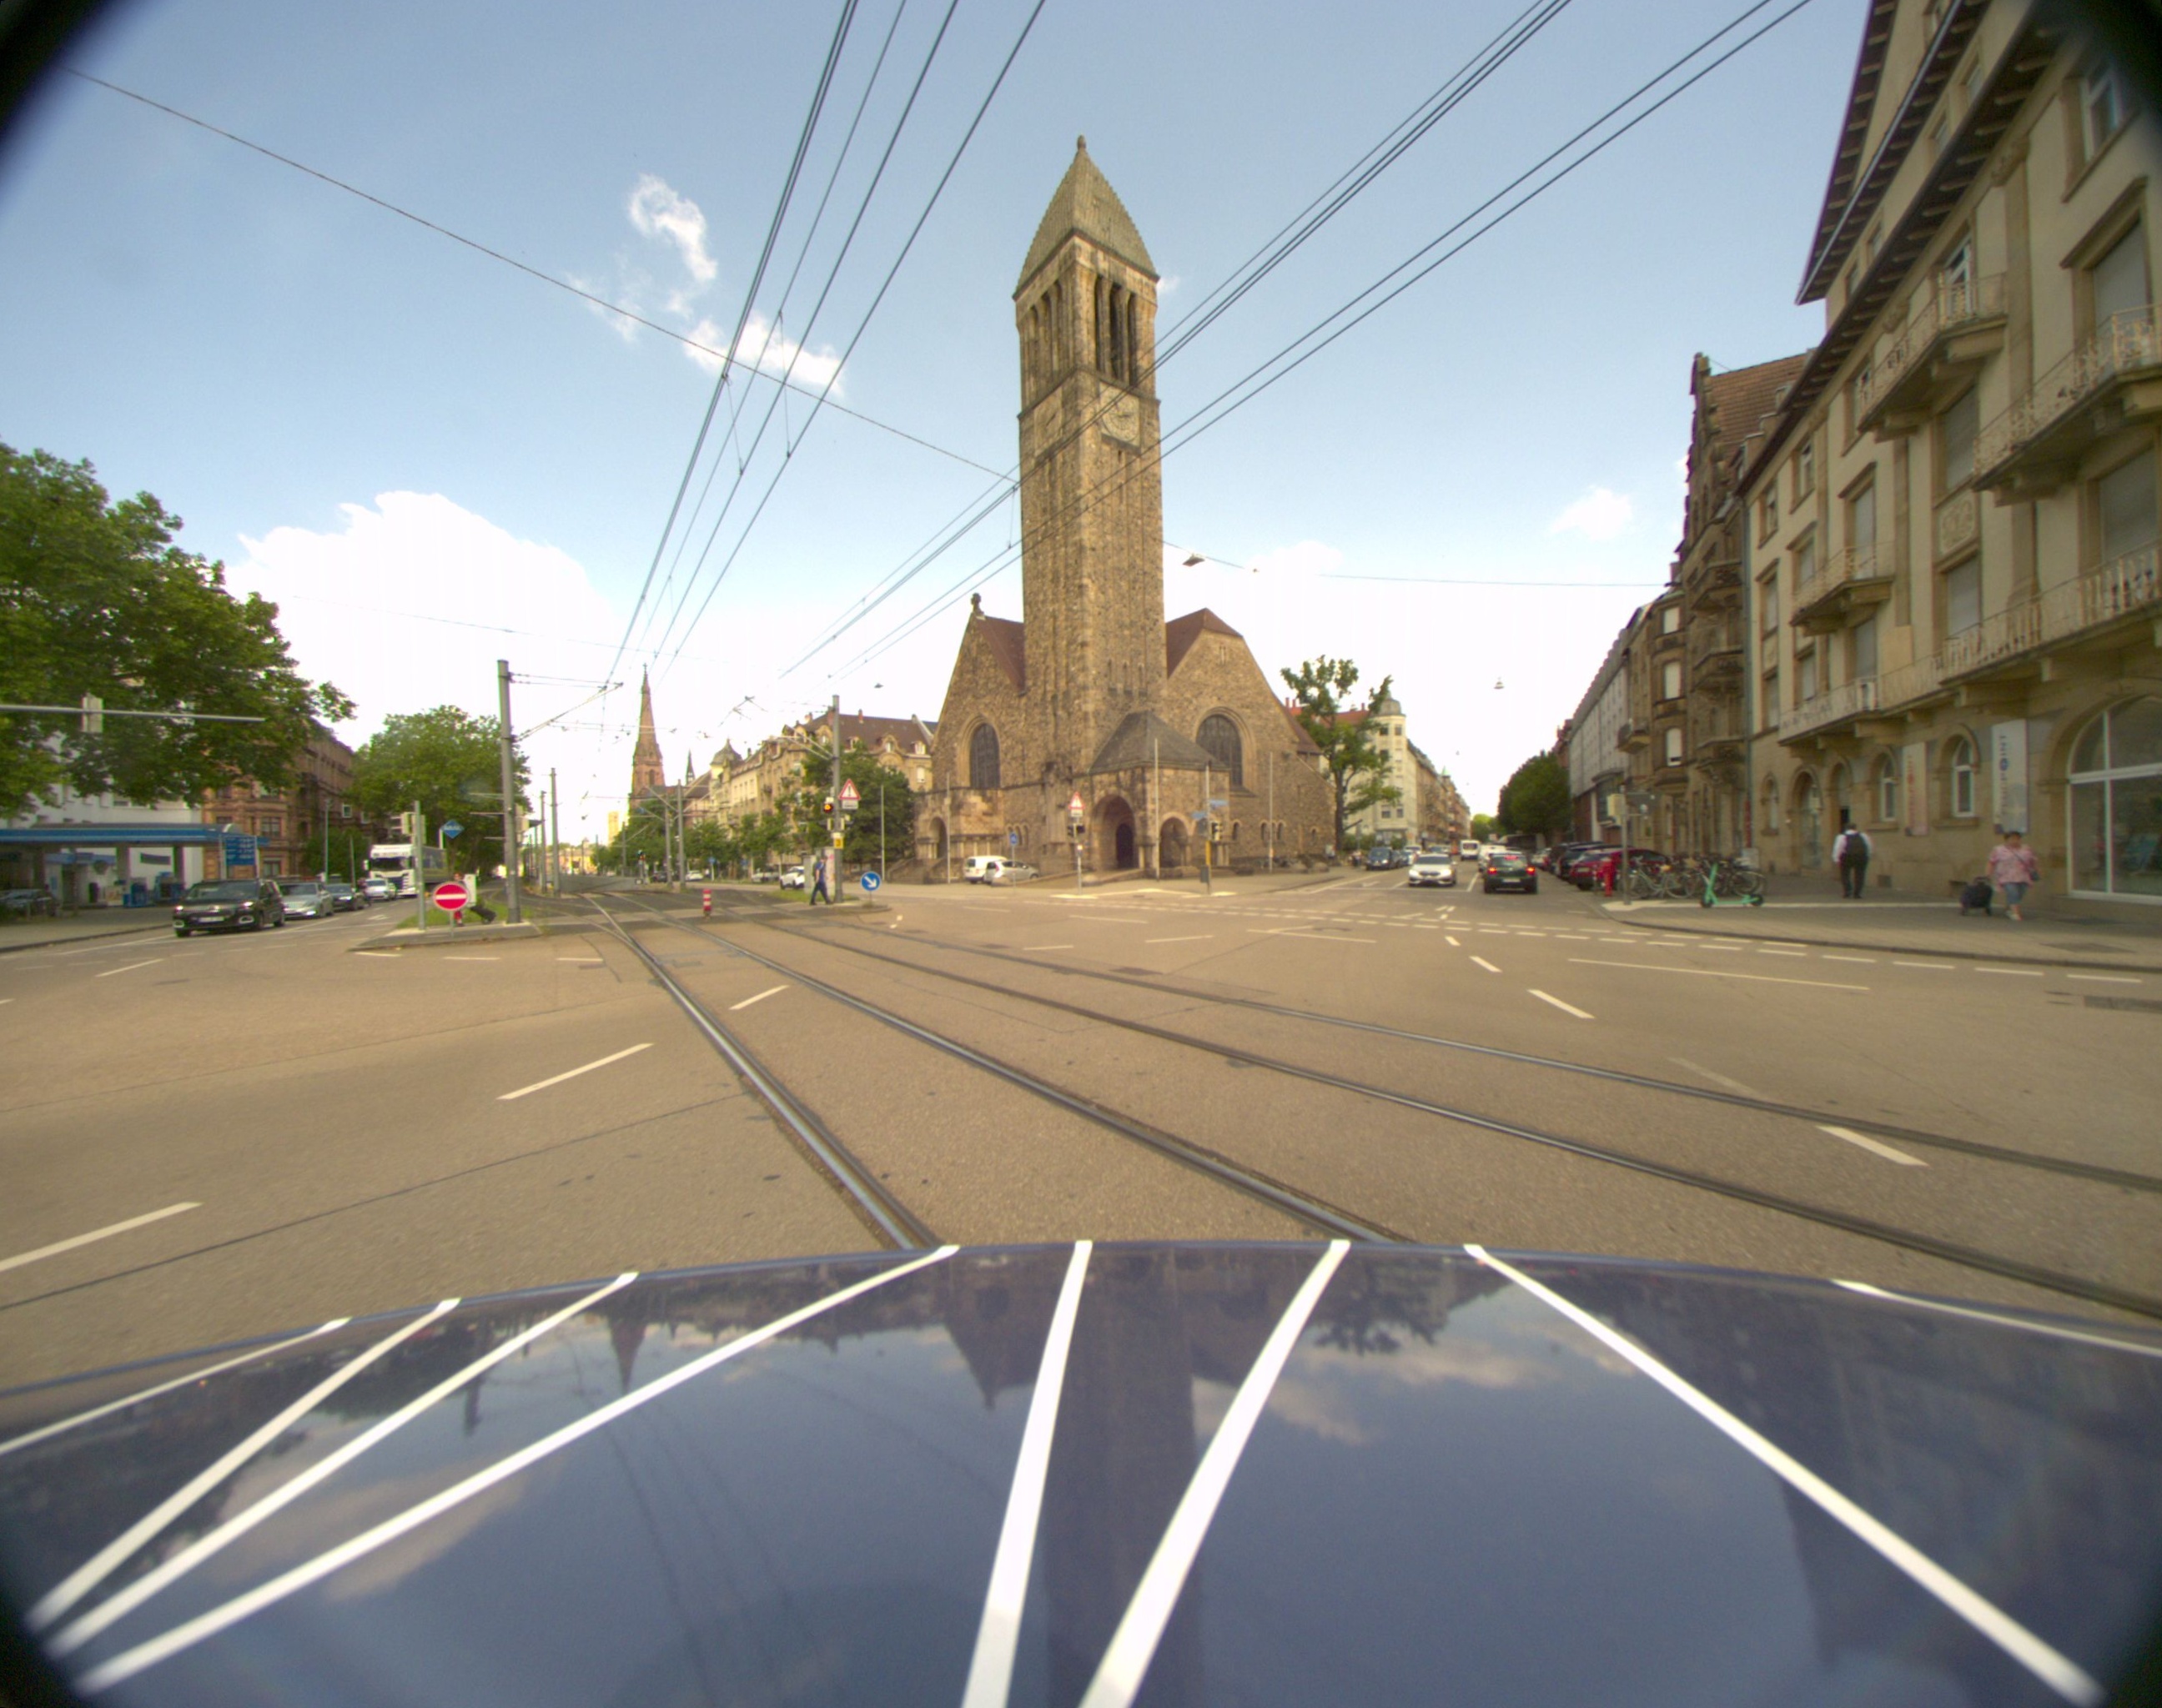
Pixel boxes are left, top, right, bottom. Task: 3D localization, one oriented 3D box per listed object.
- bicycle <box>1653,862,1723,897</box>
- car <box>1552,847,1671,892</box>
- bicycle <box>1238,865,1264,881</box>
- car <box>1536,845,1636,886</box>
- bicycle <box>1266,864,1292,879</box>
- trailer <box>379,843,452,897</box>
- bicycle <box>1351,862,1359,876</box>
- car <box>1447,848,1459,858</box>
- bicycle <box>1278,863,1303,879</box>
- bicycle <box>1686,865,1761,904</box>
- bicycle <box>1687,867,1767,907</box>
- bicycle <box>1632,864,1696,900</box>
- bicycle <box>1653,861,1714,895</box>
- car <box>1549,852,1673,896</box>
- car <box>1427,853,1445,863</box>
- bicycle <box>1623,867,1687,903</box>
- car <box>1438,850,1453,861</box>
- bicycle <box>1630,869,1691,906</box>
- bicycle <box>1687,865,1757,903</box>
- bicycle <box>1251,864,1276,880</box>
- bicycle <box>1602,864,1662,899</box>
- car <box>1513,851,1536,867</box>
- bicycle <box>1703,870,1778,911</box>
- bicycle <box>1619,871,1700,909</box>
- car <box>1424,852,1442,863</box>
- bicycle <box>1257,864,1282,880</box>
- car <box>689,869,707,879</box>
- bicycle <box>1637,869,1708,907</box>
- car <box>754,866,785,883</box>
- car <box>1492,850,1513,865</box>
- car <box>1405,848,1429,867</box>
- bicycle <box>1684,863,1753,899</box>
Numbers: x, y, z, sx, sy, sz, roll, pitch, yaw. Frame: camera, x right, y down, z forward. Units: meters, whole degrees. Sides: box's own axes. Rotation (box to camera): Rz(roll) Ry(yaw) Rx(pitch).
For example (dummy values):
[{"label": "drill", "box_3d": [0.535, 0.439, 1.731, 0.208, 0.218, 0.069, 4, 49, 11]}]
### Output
[{"label": "bicycle", "box_3d": [19.506, 0.832, 24.442, 1.628, 1.045, 0.559, -4, -1, 28]}, {"label": "car", "box_3d": [22.713, 0.685, 32.599, 3.955, 1.679, 1.802, -3, -2, -10]}, {"label": "bicycle", "box_3d": [12.941, 1.448, 57.853, 0.588, 1.106, 1.933, -2, 3, -40]}, {"label": "car", "box_3d": [25.734, 0.585, 38.799, 3.953, 1.856, 1.731, -3, -1, -5]}, {"label": "bicycle", "box_3d": [15.582, 1.380, 59.825, 0.588, 1.106, 1.933, -2, 3, -40]}, {"label": "trailer", "box_3d": [-55.226, 1.289, 63.342, 2.922, 4.054, 11.621, -2, 0, -33]}, {"label": "bicycle", "box_3d": [22.256, 1.202, 61.701, 0.479, 1.046, 1.445, -1, 0, 24]}, {"label": "car", "box_3d": [72.376, -0.195, 147.894, 1.806, 1.901, 4.194, -1, 0, 30]}, {"label": "bicycle", "box_3d": [16.759, 1.349, 60.849, 0.588, 1.106, 1.933, -2, 3, -40]}, {"label": "bicycle", "box_3d": [18.547, 0.891, 21.973, 1.578, 1.045, 0.481, -4, -1, 37]}, {"label": "bicycle", "box_3d": [17.969, 0.938, 21.173, 1.610, 1.045, 0.481, -4, -1, 37]}, {"label": "bicycle", "box_3d": [18.548, 0.888, 24.203, 1.481, 1.045, 0.463, -4, -2, 26]}, {"label": "bicycle", "box_3d": [20.555, 0.823, 25.919, 1.905, 1.045, 0.557, -2, -1, -15]}, {"label": "car", "box_3d": [20.978, 0.800, 30.127, 3.955, 1.448, 1.730, -3, -2, -12]}, {"label": "car", "box_3d": [47.985, 0.539, 102.559, 1.806, 1.360, 4.194, -1, 0, 30]}, {"label": "bicycle", "box_3d": [17.652, 0.956, 23.389, 1.481, 1.045, 0.463, -4, -1, 29]}, {"label": "car", "box_3d": [58.577, 0.193, 122.064, 1.806, 1.755, 4.194, -1, 0, 30]}, {"label": "bicycle", "box_3d": [17.488, 1.006, 22.962, 1.370, 1.045, 0.419, -4, -2, 27]}, {"label": "bicycle", "box_3d": [18.994, 0.887, 22.550, 1.481, 1.045, 0.463, -4, -1, 30]}, {"label": "bicycle", "box_3d": [14.147, 1.416, 58.873, 0.588, 1.106, 1.933, -2, 3, -40]}, {"label": "bicycle", "box_3d": [18.321, 0.914, 25.261, 1.813, 1.045, 0.557, -2, -1, -17]}, {"label": "car", "box_3d": [43.727, 0.481, 74.872, 1.888, 1.556, 3.898, -1, 0, 30]}, {"label": "bicycle", "box_3d": [17.497, 0.977, 20.197, 1.439, 1.045, 0.481, -4, -1, 39]}, {"label": "bicycle", "box_3d": [16.562, 1.049, 21.776, 0.532, 1.045, 1.732, -2, -2, -45]}, {"label": "car", "box_3d": [45.409, 0.436, 97.978, 1.806, 1.360, 4.194, -1, 0, 30]}, {"label": "bicycle", "box_3d": [14.711, 1.402, 59.318, 0.588, 1.106, 1.933, -2, 3, -40]}, {"label": "car", "box_3d": [-51.424, 2.731, 101.980, 1.659, 1.226, 3.056, -2, 0, -36]}, {"label": "bicycle", "box_3d": [17.265, 0.998, 22.229, 1.578, 1.045, 0.481, -4, -1, 37]}, {"label": "car", "box_3d": [-29.739, 1.951, 72.523, 1.793, 1.486, 3.828, -2, 0, -36]}, {"label": "car", "box_3d": [46.006, 0.385, 82.886, 1.888, 1.641, 3.898, -1, 0, 30]}, {"label": "car", "box_3d": [36.224, 0.364, 81.898, 1.841, 1.927, 4.194, -1, 0, 30]}, {"label": "bicycle", "box_3d": [19.355, 0.825, 23.101, 1.481, 1.045, 0.463, -3, -1, 26]}]
